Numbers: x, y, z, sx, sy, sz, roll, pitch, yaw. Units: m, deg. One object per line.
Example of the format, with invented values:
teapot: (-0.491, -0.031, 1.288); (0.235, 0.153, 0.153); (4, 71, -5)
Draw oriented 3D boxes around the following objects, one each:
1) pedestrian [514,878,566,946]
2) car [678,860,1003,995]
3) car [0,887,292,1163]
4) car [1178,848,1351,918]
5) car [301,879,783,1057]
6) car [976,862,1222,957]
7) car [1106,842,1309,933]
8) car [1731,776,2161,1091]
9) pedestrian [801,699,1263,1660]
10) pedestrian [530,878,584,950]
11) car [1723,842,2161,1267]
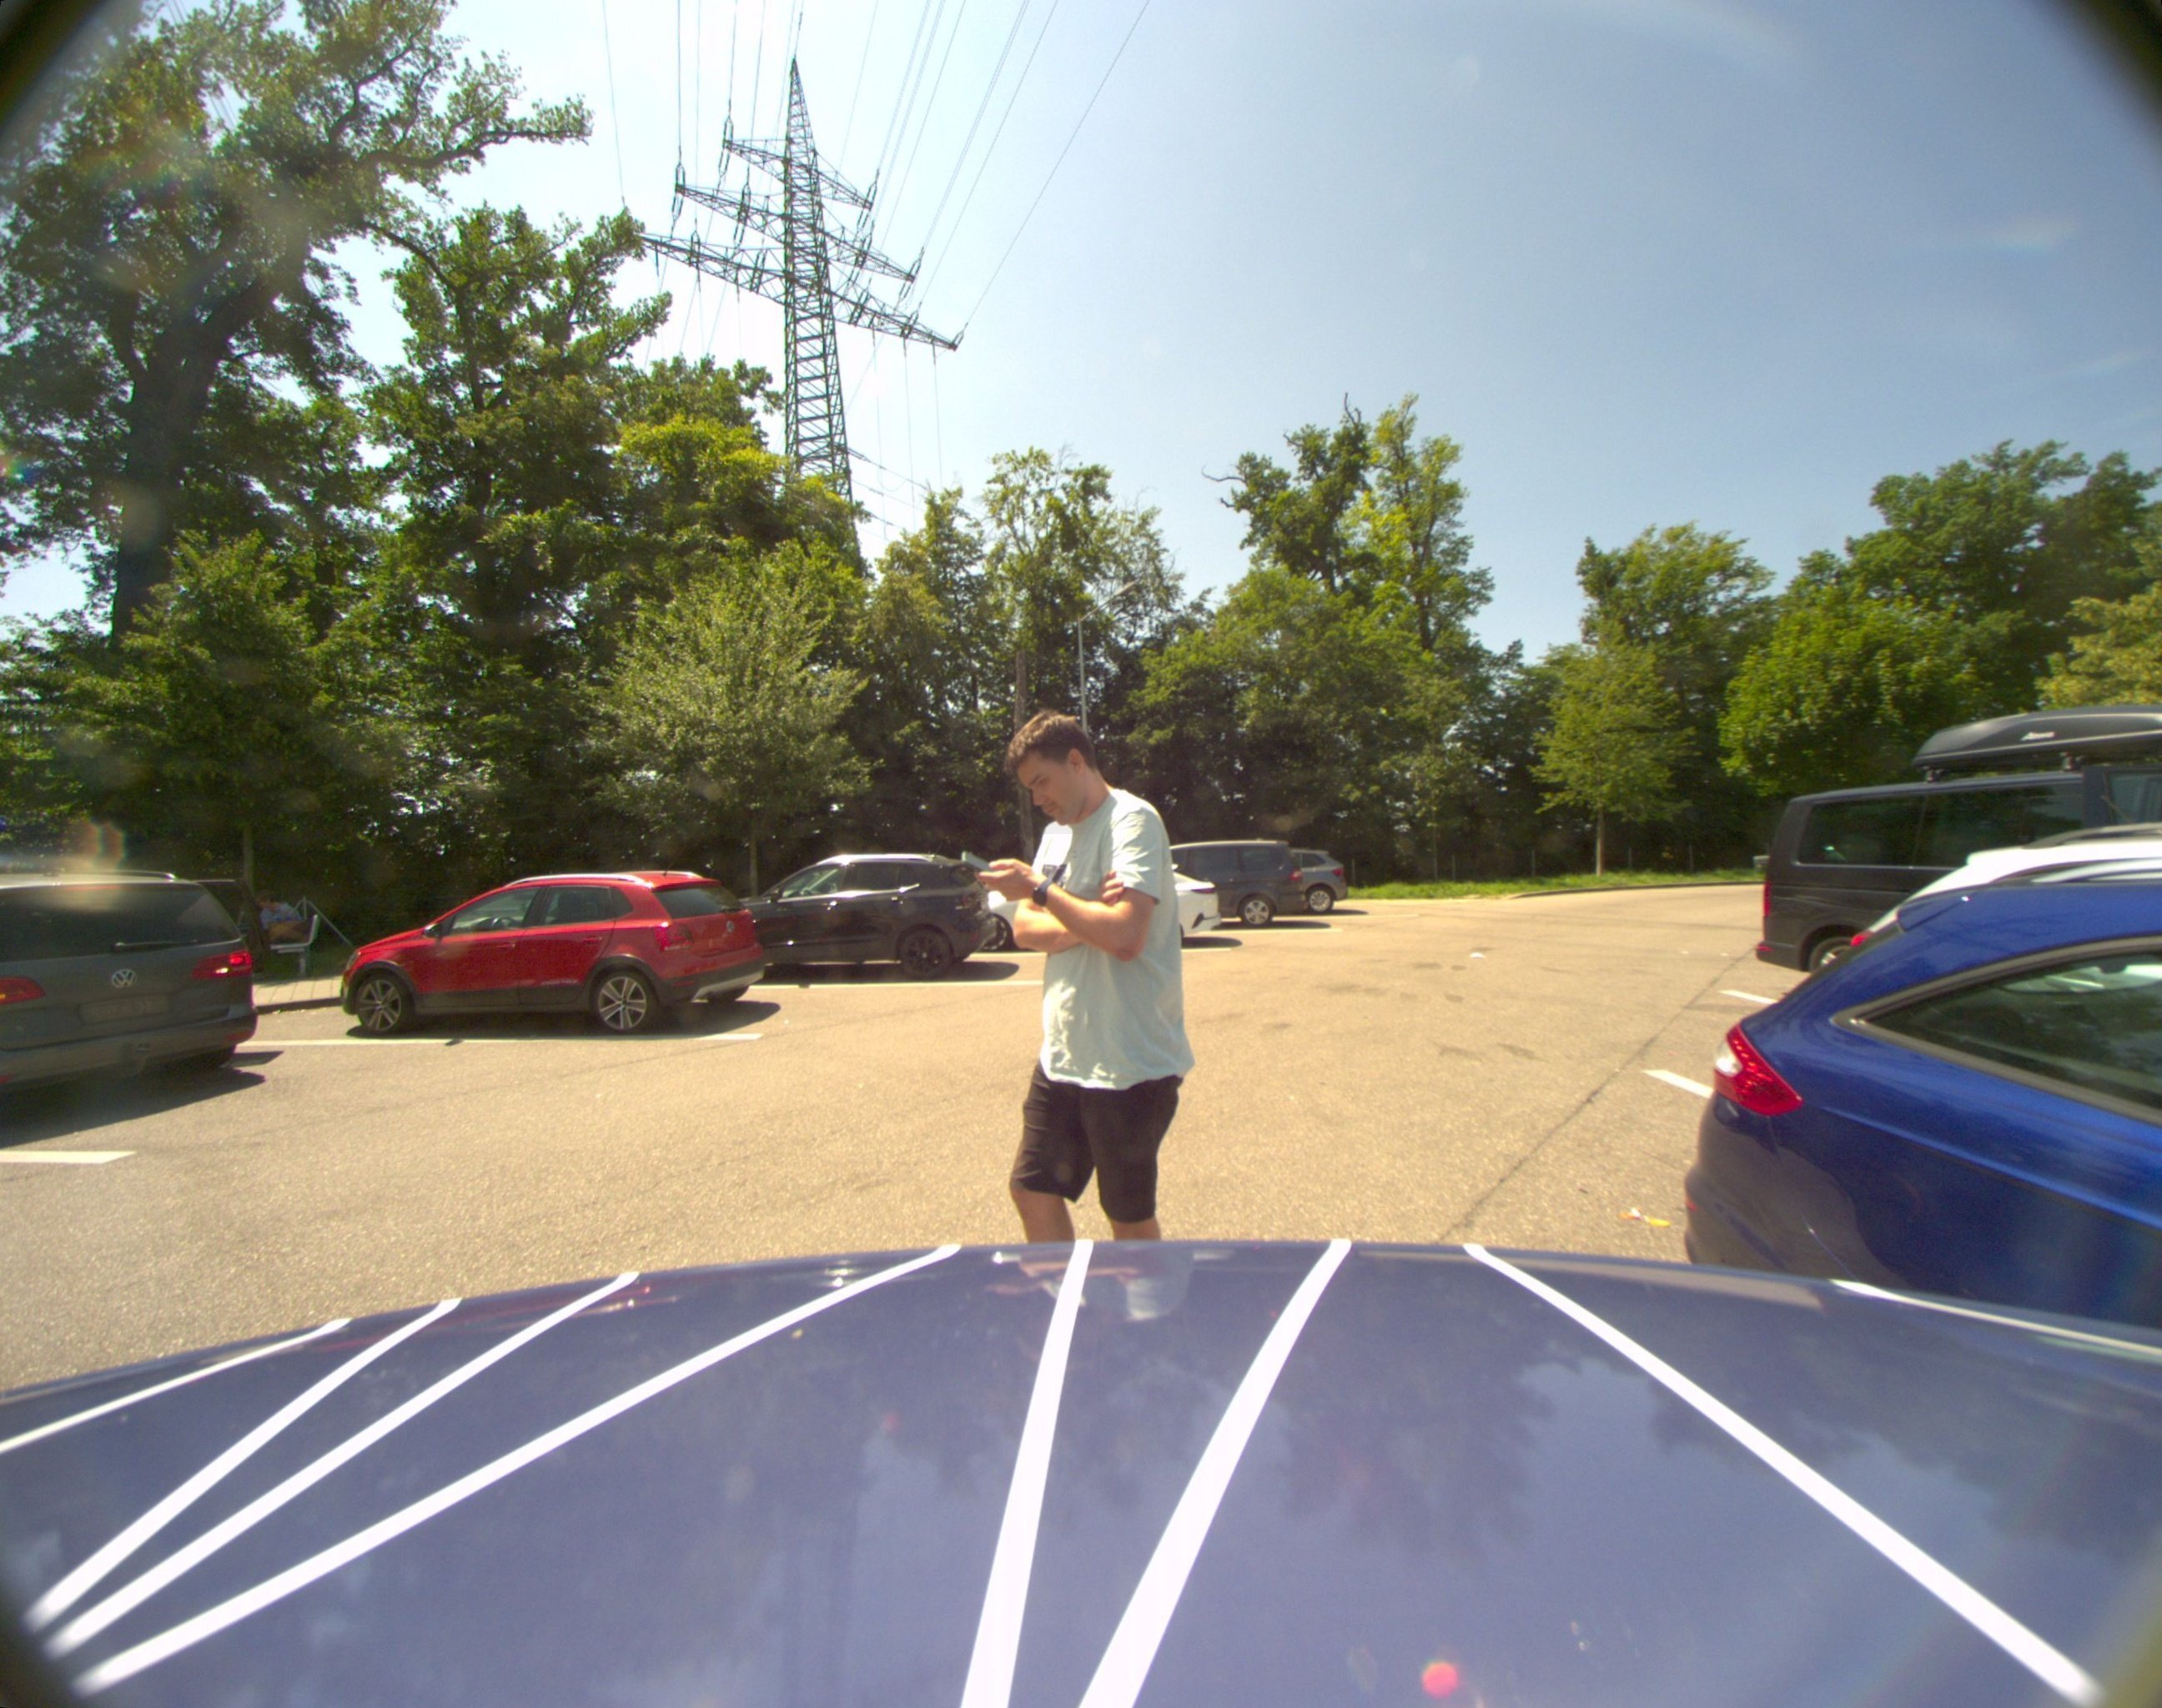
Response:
pedestrian: (-10.916, 1.156, 15.330); (0.782, 1.287, 0.670); (-1, 2, 45)
car: (-3.082, 0.930, 10.282); (3.787, 1.564, 1.721); (-1, 1, 2)
car: (-8.307, 1.100, 5.462); (3.985, 1.572, 1.749); (-1, 1, 12)
car: (4.325, 0.683, 18.175); (3.818, 1.530, 1.722); (-1, 1, 12)
car: (-5.255, 1.059, 7.671); (3.785, 1.457, 1.722); (-1, 1, 9)
car: (0.349, 0.893, 12.747); (3.819, 1.377, 1.722); (-1, 1, 6)
car: (2.573, 0.661, 15.473); (3.818, 1.714, 1.722); (-1, 1, 12)
car: (7.305, 0.432, 4.933); (1.961, 1.858, 4.642); (-3, -1, -3)
pedestrian: (-0.081, 0.633, 1.893); (0.888, 1.831, 0.623); (-2, 1, 23)
pedestrian: (-10.027, 1.130, 14.535); (0.782, 1.287, 0.670); (-1, 2, 45)
car: (4.857, 0.720, 2.304); (1.741, 1.524, 4.642); (-3, -1, -2)
